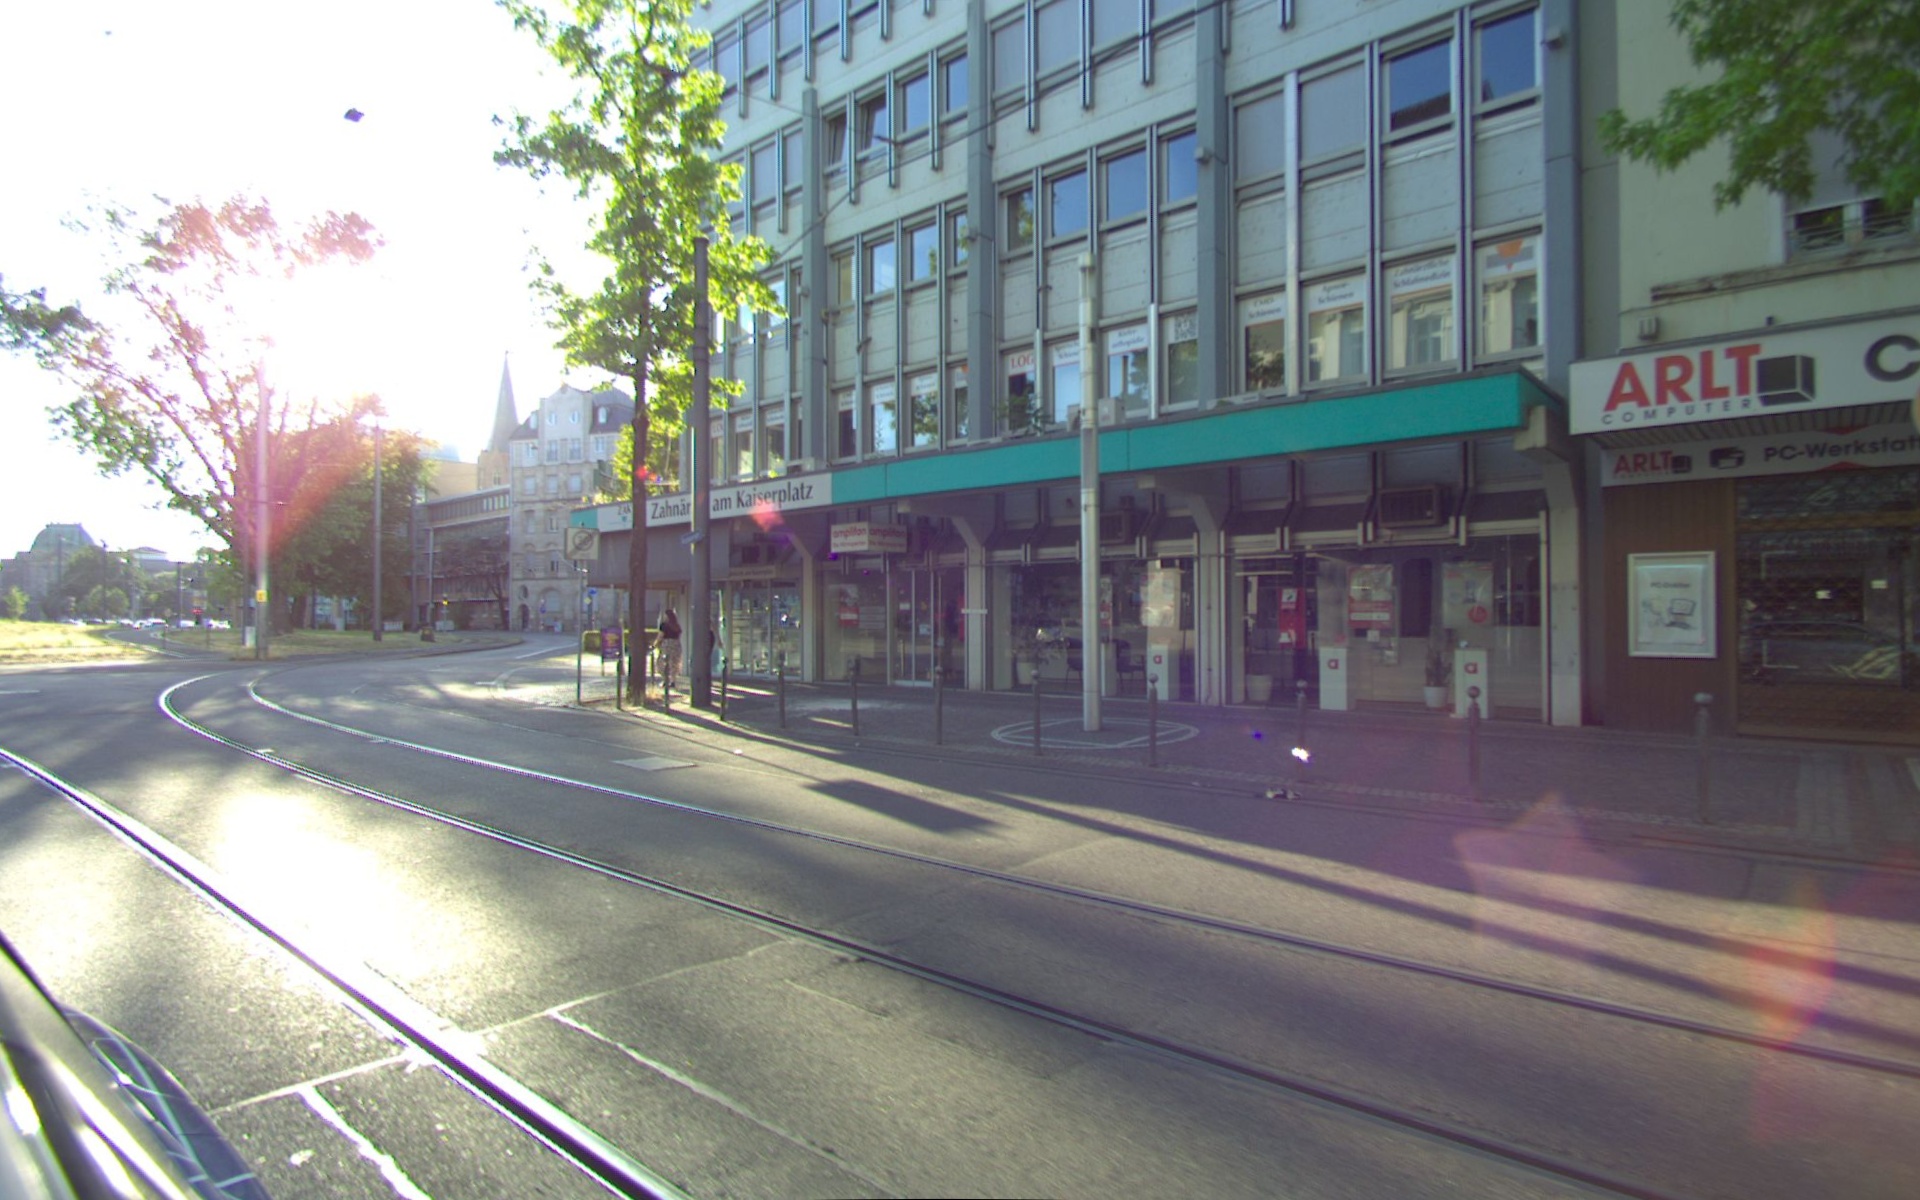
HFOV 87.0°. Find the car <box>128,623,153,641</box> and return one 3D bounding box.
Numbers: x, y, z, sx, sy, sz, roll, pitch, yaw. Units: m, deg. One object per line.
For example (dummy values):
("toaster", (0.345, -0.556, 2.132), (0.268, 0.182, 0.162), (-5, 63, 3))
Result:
("car", (-101.329, 3.944, 125.187), (4.002, 2.029, 1.971), (-1, -1, 45))

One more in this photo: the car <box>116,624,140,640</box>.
("car", (-109.561, 4.179, 133.287), (4.001, 2.029, 1.971), (-1, -1, 44))

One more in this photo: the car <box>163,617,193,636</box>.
("car", (-85.572, 2.915, 110.699), (3.999, 2.029, 1.972), (-1, -1, 42))

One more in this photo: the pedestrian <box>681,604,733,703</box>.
("pedestrian", (-5.333, 1.105, 21.364), (0.734, 2.029, 0.788), (0, 0, 42))

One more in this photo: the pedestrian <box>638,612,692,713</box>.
("pedestrian", (-6.107, 1.273, 20.959), (0.734, 2.029, 0.788), (0, 0, 42))

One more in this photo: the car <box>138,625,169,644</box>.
("car", (-94.283, 4.001, 118.305), (4.544, 2.029, 1.974), (-1, 0, 39))

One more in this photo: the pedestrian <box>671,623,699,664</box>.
("pedestrian", (-11.953, 1.887, 43.920), (0.892, 1.715, 1.166), (0, -1, -31))
